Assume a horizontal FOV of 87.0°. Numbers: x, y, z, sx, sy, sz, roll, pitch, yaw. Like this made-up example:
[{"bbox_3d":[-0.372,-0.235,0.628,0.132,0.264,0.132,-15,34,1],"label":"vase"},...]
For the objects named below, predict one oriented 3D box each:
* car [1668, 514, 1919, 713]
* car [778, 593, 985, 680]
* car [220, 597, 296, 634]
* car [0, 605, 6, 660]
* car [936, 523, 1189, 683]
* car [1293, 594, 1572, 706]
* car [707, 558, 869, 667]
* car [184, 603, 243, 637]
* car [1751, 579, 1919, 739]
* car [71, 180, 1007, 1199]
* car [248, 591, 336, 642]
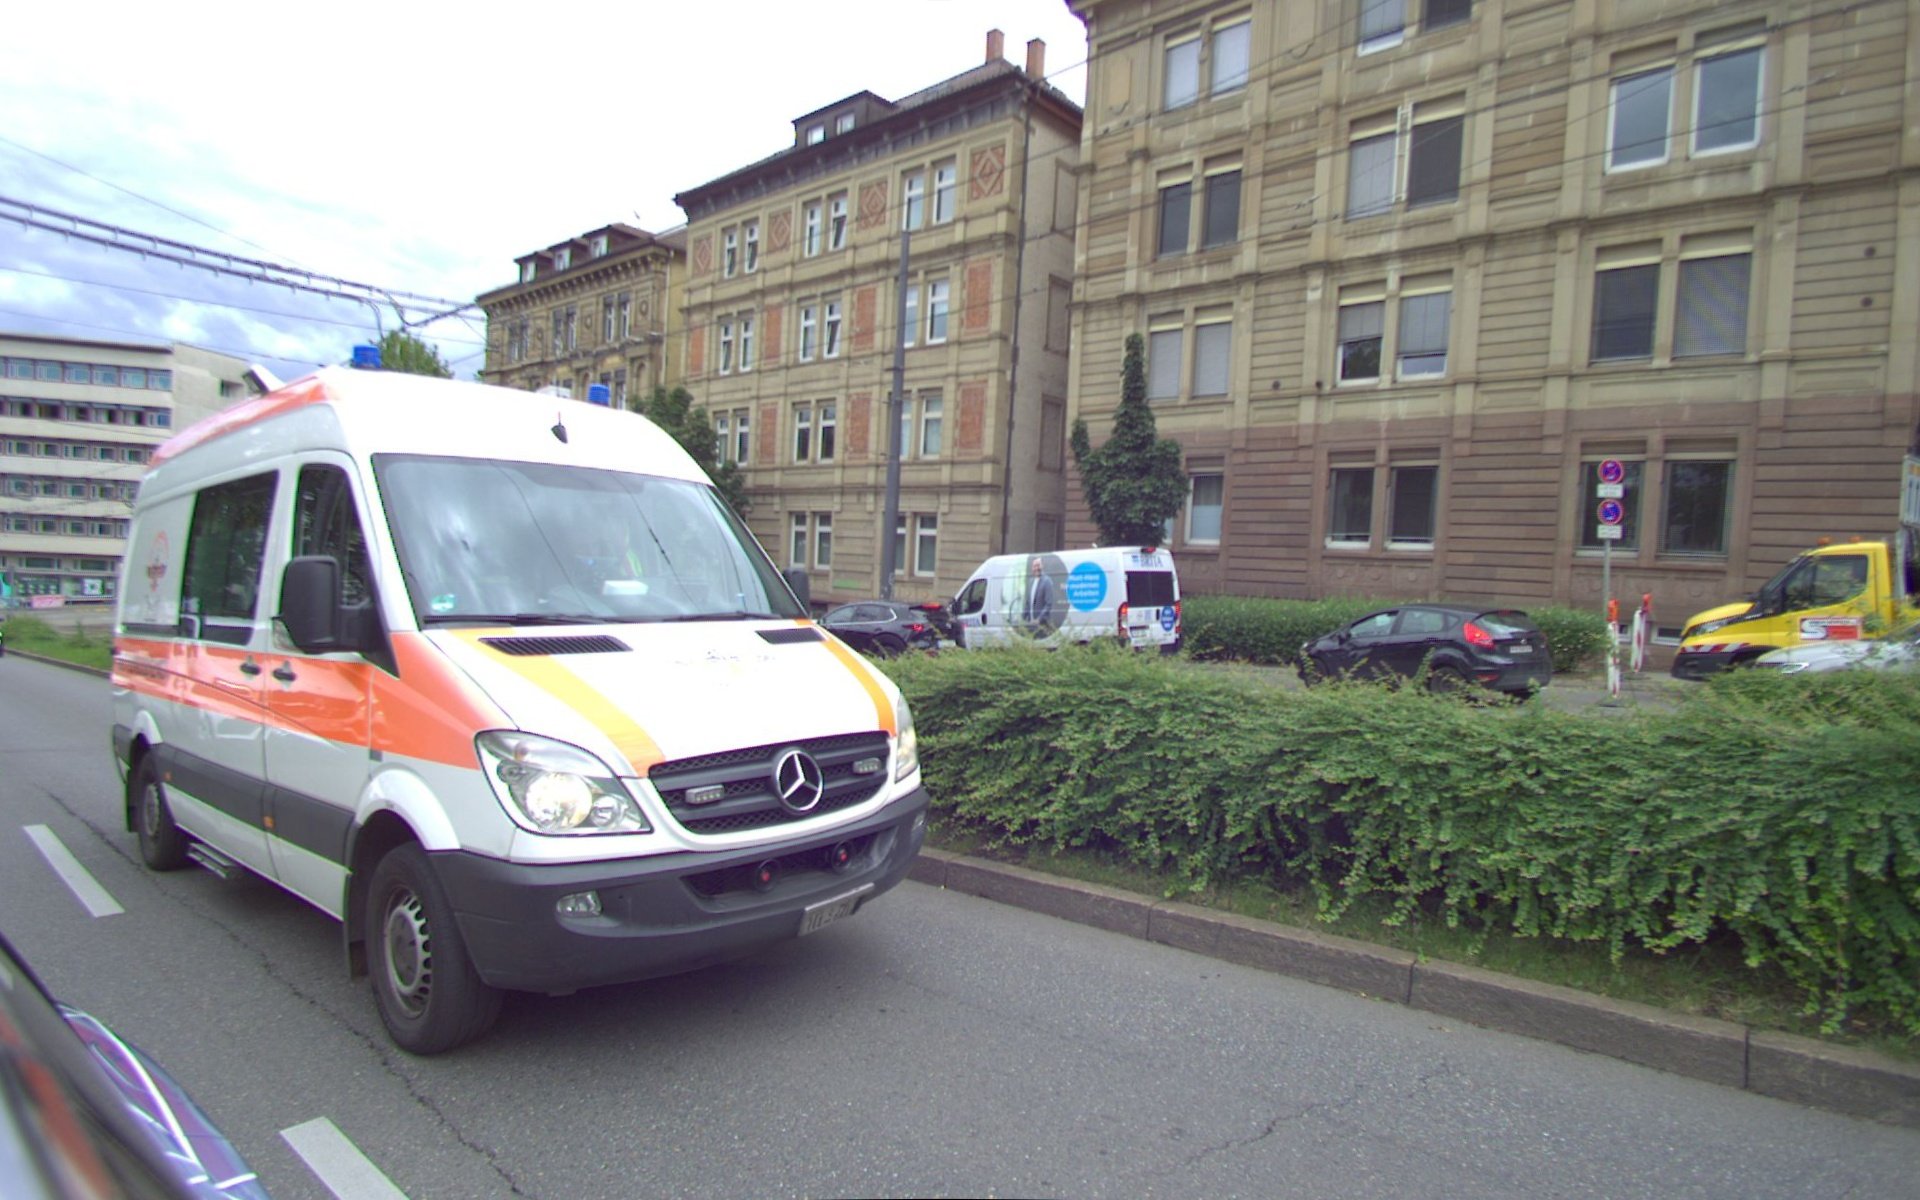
[{"bbox_3d":[13.251,0.164,12.999,6.744,2.454,2.417,0,0,38],"label":"car"},{"bbox_3d":[-1.605,0.670,19.785,3.949,1.531,1.846,-1,-1,43],"label":"car"},{"bbox_3d":[-31.996,0.707,46.090,3.999,1.596,1.972,0,-1,42],"label":"car"},{"bbox_3d":[-30.006,0.980,30.230,4.181,1.584,1.905,-1,1,43],"label":"car"},{"bbox_3d":[1.962,0.090,20.429,4.785,2.844,2.184,-1,-1,44],"label":"car"},{"bbox_3d":[6.985,0.681,15.319,1.621,1.465,3.576,0,-1,-27],"label":"car"},{"bbox_3d":[-4.346,0.318,25.275,4.000,2.494,1.972,-1,-1,43],"label":"car"},{"bbox_3d":[-37.080,0.981,50.264,3.844,1.641,1.659,0,-1,43],"label":"car"},{"bbox_3d":[10.586,0.590,10.229,3.992,1.579,1.688,0,-1,36],"label":"car"},{"bbox_3d":[-2.690,0.320,5.230,5.849,2.720,2.013,-1,-1,40],"label":"car"},{"bbox_3d":[-28.267,0.676,42.780,4.749,2.029,2.118,-1,-1,44],"label":"car"}]
